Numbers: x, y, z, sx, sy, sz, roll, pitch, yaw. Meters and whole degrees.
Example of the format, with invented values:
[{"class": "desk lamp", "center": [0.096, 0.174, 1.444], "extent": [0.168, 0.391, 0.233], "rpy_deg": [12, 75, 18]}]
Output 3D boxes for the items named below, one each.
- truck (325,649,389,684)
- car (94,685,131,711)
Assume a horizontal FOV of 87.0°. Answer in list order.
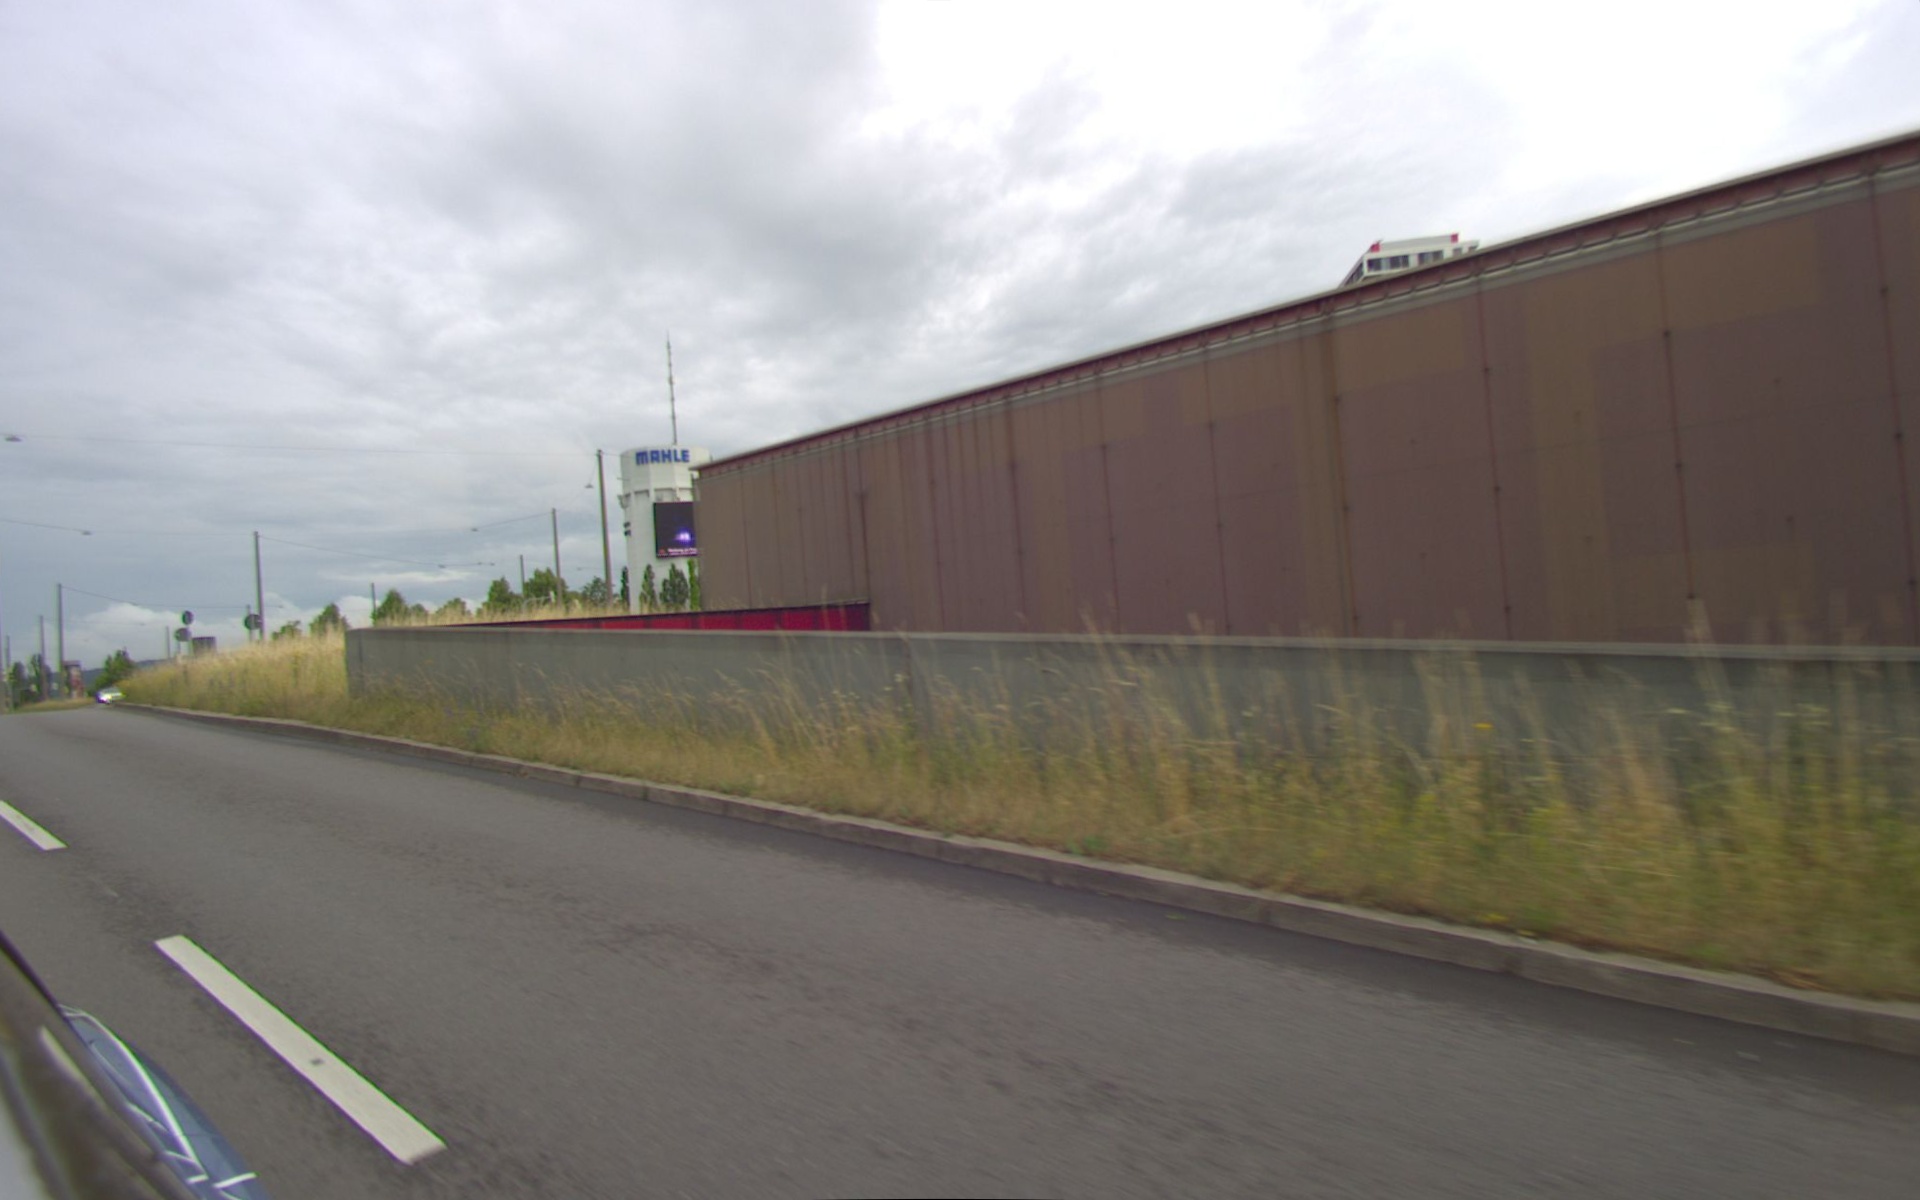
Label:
[{"class": "truck", "center": [-60.617, 6.703, 101.747], "extent": [5.990, 2.855, 2.116], "rpy_deg": [-7, -1, 22]}, {"class": "car", "center": [-78.515, 9.101, 93.790], "extent": [3.999, 2.028, 1.973], "rpy_deg": [-7, -1, 42]}]
